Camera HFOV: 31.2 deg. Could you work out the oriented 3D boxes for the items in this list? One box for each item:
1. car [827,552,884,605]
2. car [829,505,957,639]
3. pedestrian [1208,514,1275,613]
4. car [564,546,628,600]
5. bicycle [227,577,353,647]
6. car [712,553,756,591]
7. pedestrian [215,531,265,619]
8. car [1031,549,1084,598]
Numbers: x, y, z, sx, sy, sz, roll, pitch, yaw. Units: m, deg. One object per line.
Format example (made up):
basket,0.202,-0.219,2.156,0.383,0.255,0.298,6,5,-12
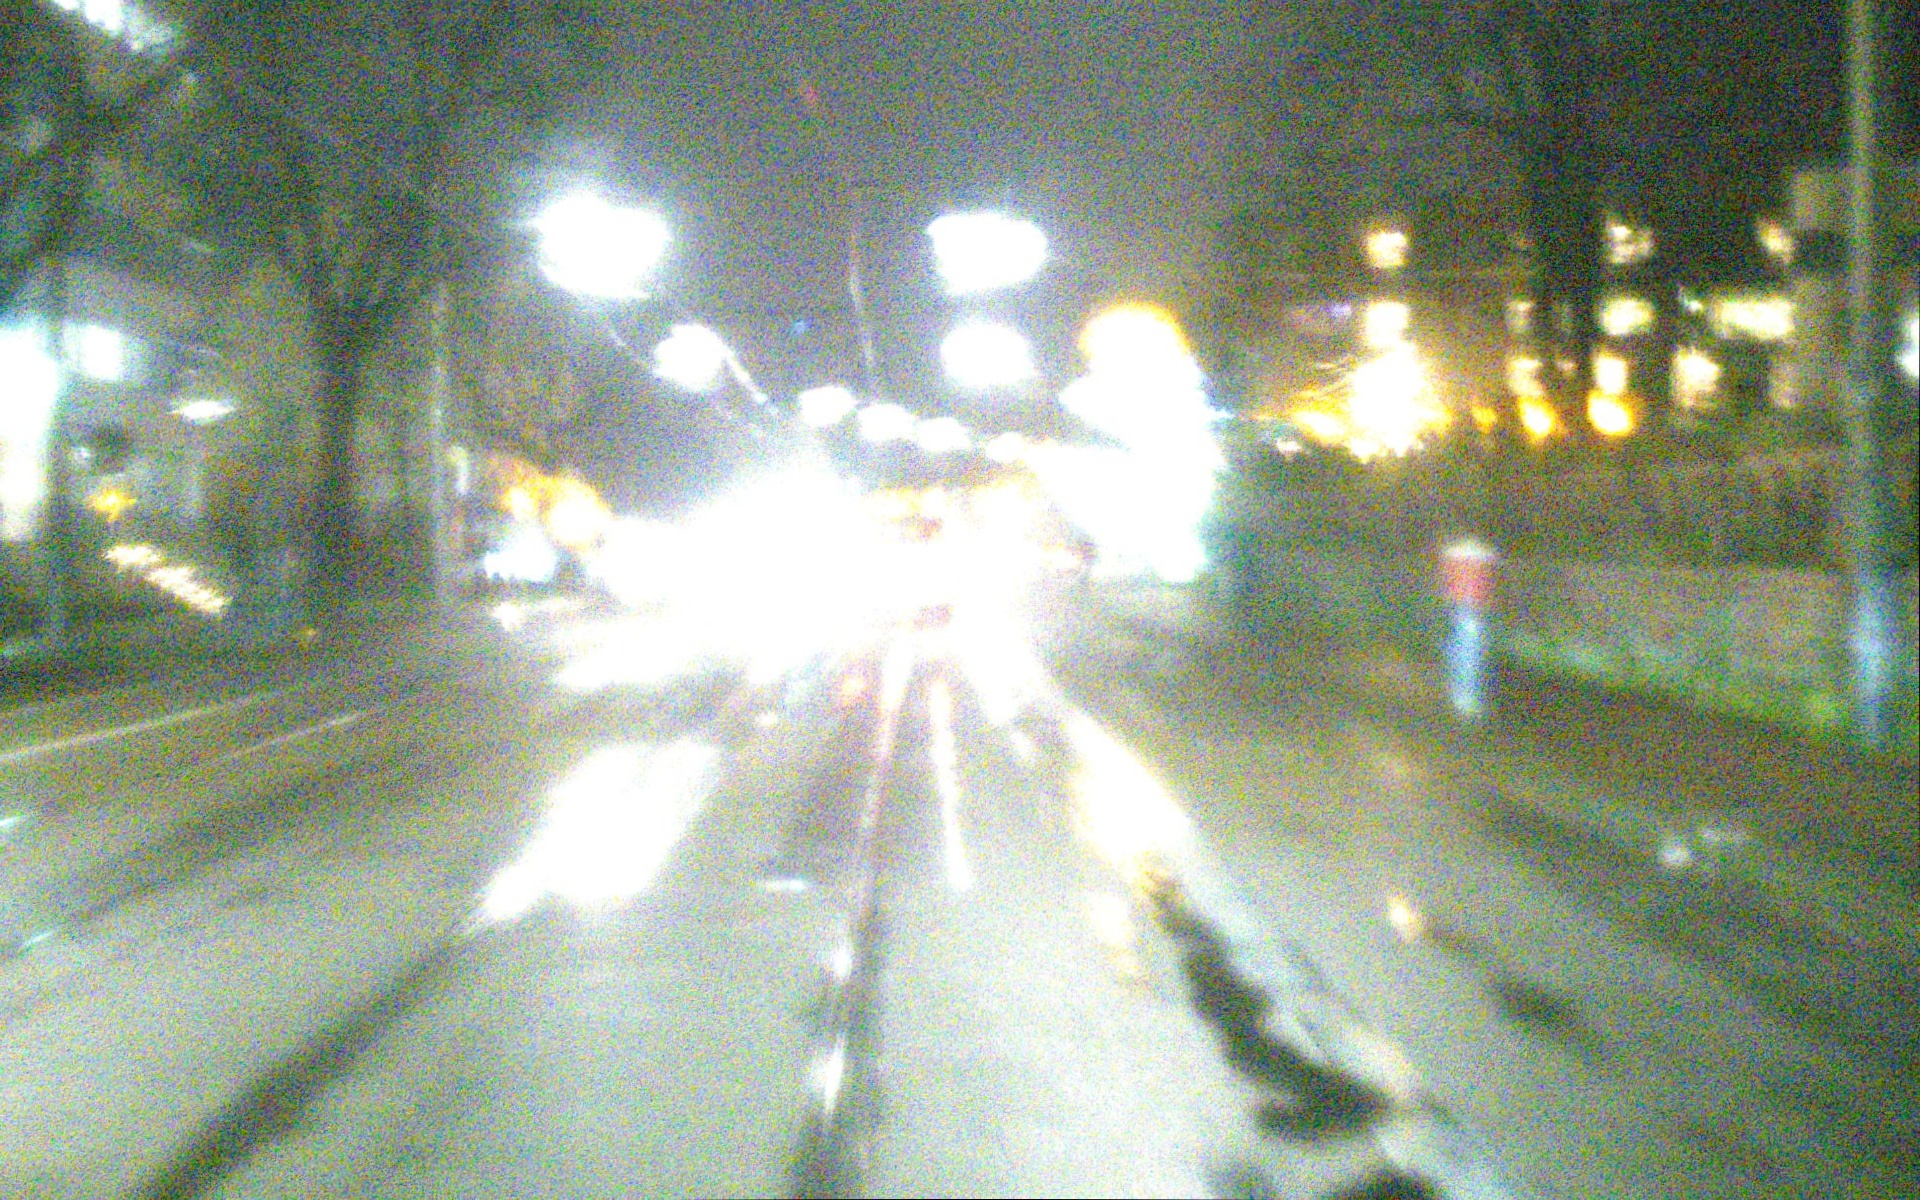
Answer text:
car,-3.688,-0.765,121.728,1.993,1.809,4.000,1,0,-1
car,-1.257,-0.519,63.176,2.244,2.353,4.394,1,0,-2
pedestrian,4.813,-0.628,58.862,0.939,1.658,0.994,-2,1,-5
car,-13.951,-1.041,131.812,1.993,2.007,4.000,1,0,0
bicycle,-10.533,0.191,54.063,1.853,1.074,0.628,1,0,-1
car,-10.478,-1.295,159.193,1.993,1.718,4.077,1,0,-4
pedestrian,-13.893,-0.479,66.336,0.786,1.681,0.883,1,0,-1
car,4.066,-1.094,144.174,1.993,2.007,4.000,1,0,-1
